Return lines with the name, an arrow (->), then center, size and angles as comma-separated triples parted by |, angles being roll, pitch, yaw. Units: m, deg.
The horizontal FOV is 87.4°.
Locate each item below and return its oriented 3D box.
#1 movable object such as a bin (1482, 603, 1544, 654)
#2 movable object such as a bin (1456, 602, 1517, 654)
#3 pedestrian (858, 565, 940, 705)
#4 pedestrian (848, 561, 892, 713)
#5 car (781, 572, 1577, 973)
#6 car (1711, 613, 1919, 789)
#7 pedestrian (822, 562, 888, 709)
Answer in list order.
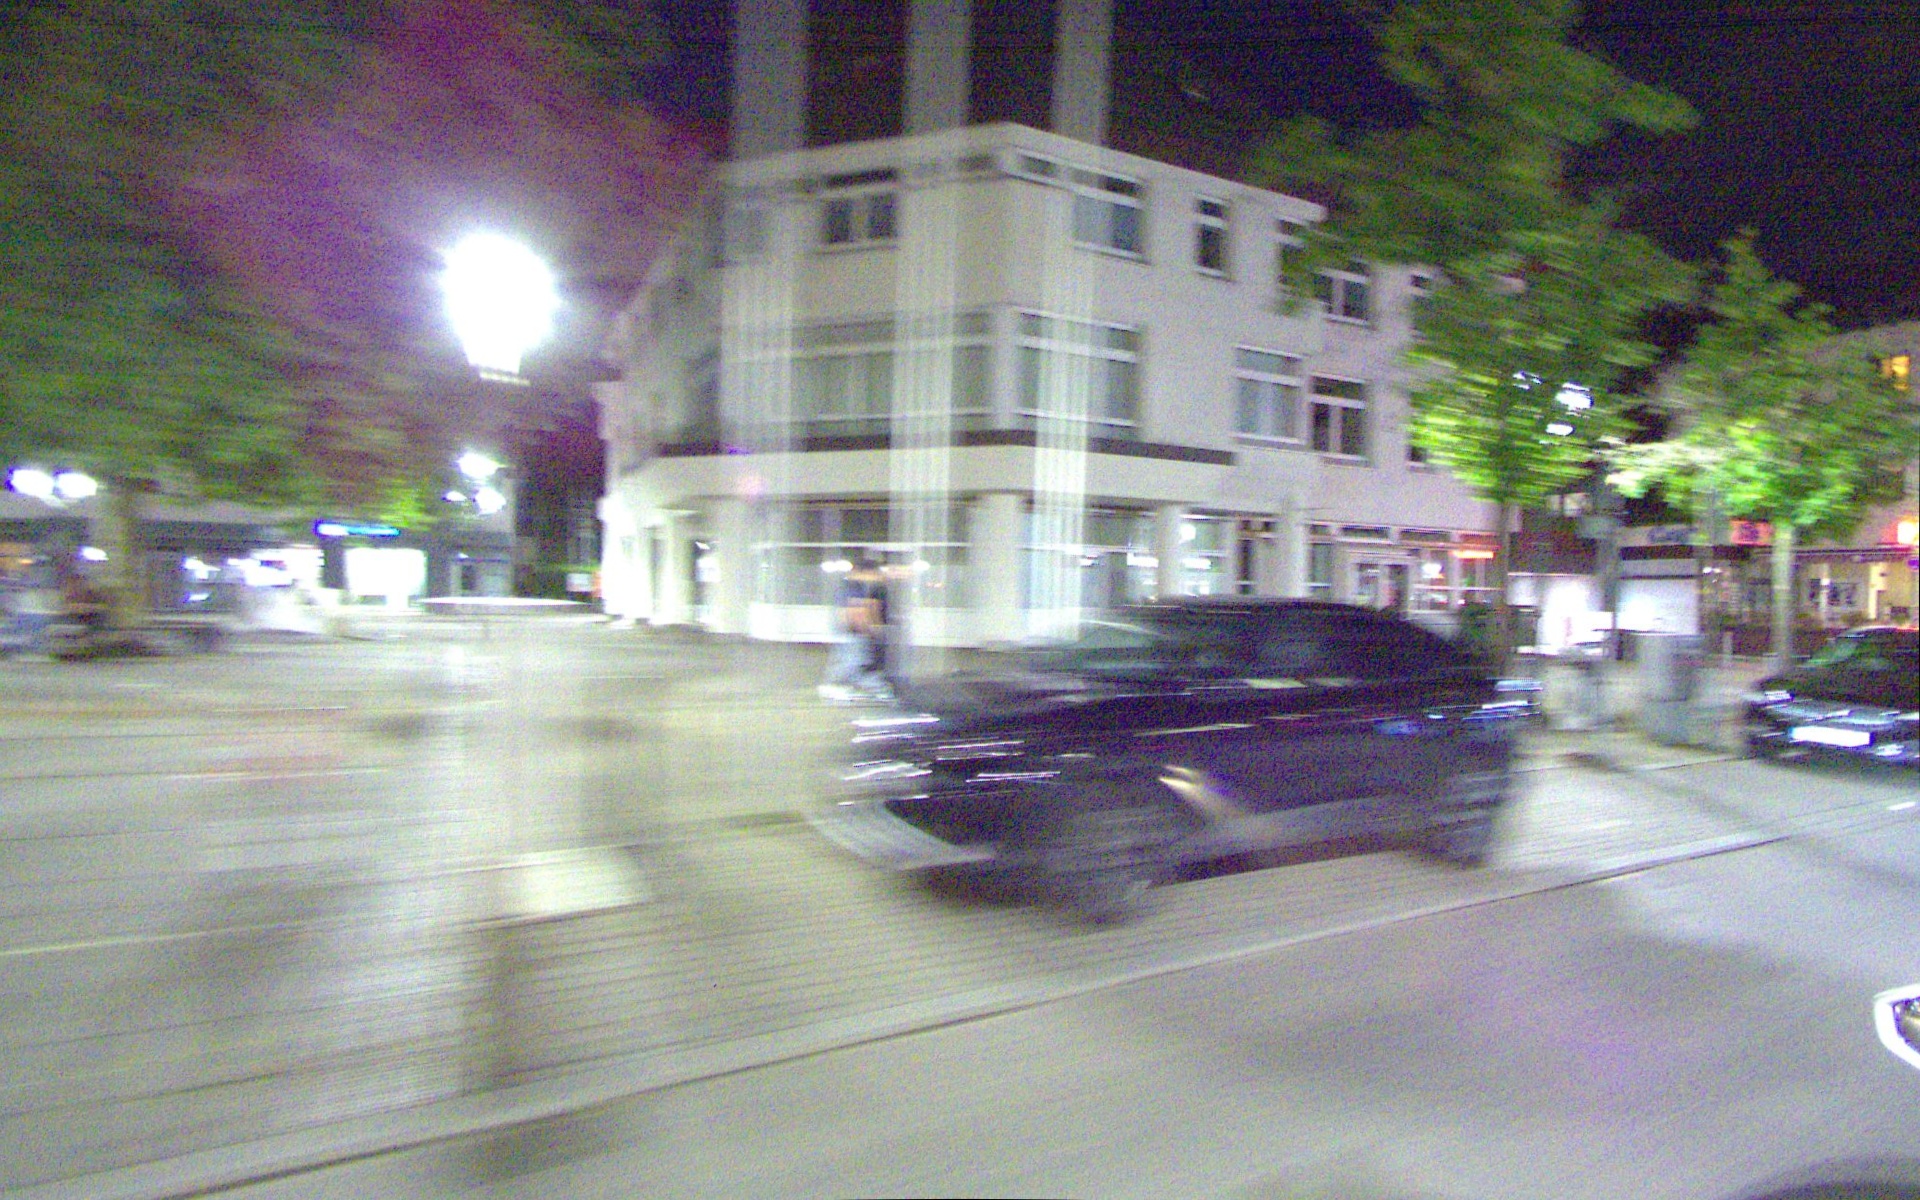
movable object such as a bin -> 16.641, 0.855, 30.246 | 1.212, 1.477, 1.126 | 2, 0, -28
movable object such as a bin -> 15.517, 0.833, 29.614 | 1.270, 1.463, 1.032 | 2, 0, -28
pedestrian -> -0.852, 0.467, 13.746 | 1.005, 1.842, 0.793 | 1, 1, -9
pedestrian -> -1.122, 0.462, 12.555 | 0.494, 1.846, 0.502 | 2, -1, -5
car -> 1.381, 0.717, 5.835 | 4.427, 1.595, 1.763 | 1, 1, -29
car -> 10.412, 0.967, 11.036 | 4.729, 1.562, 1.894 | 1, 1, -32
pedestrian -> -1.367, 0.445, 13.200 | 0.775, 1.856, 0.880 | 2, 1, -3
